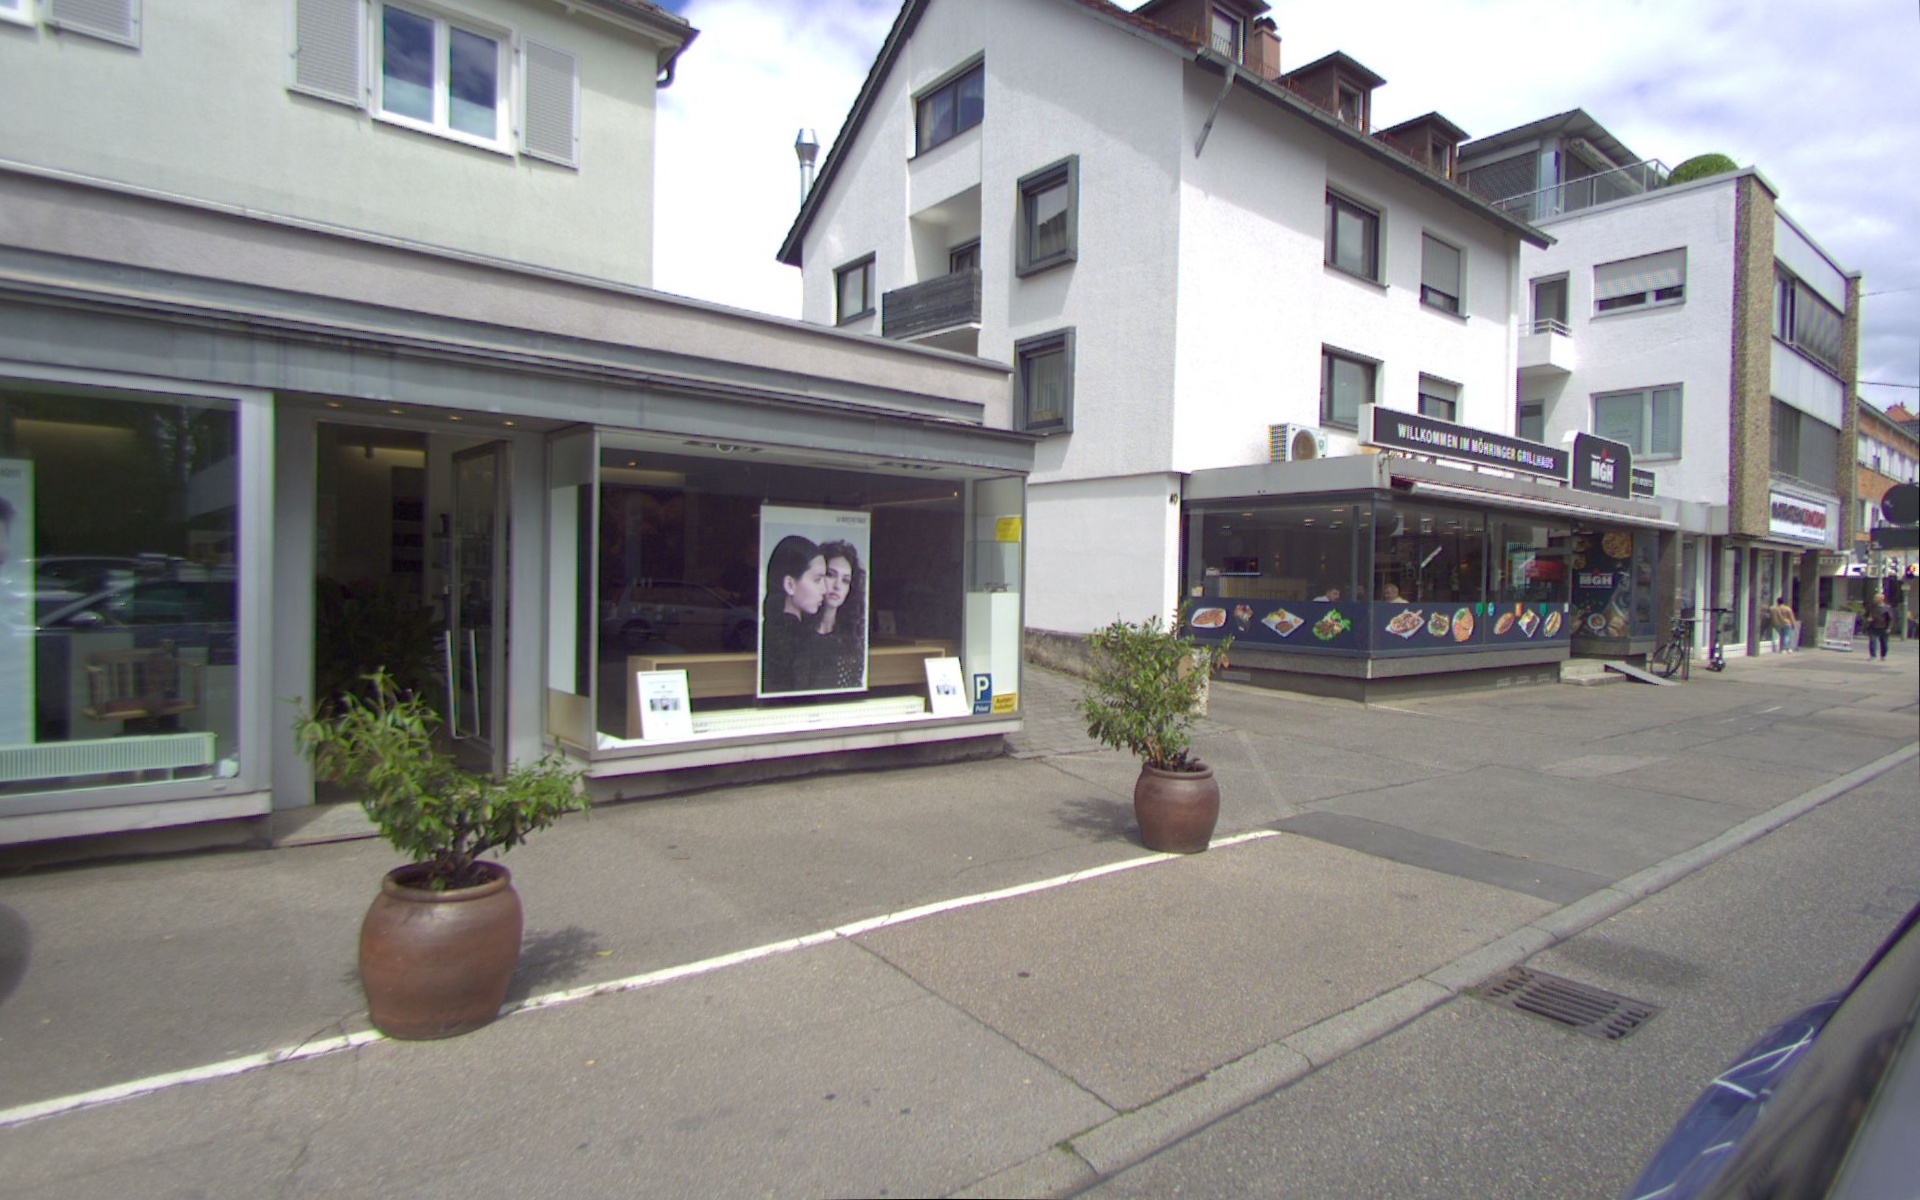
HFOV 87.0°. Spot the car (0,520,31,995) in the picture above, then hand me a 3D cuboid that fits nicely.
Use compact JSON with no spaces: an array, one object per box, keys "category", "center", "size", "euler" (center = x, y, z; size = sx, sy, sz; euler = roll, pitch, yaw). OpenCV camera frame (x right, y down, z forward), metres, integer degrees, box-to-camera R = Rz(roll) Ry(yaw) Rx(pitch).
[{"category":"car","center":[-4.808,0.468,1.869],"size":[4.456,1.465,1.972],"euler":[0,2,-41]}]

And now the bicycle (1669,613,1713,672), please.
[{"category":"bicycle","center":[13.818,0.778,19.112],"size":[0.474,1.040,1.611],"euler":[3,2,42]}]

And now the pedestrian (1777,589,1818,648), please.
[{"category":"pedestrian","center":[22.421,0.485,27.089],"size":[0.707,1.517,0.681],"euler":[1,1,-39]}]

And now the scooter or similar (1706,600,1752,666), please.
[{"category":"scooter or similar","center":[15.849,0.661,20.847],"size":[0.686,1.283,1.169],"euler":[3,2,39]}]

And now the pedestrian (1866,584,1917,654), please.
[{"category":"pedestrian","center":[23.502,0.474,25.535],"size":[0.792,1.691,0.797],"euler":[1,2,-39]}]
